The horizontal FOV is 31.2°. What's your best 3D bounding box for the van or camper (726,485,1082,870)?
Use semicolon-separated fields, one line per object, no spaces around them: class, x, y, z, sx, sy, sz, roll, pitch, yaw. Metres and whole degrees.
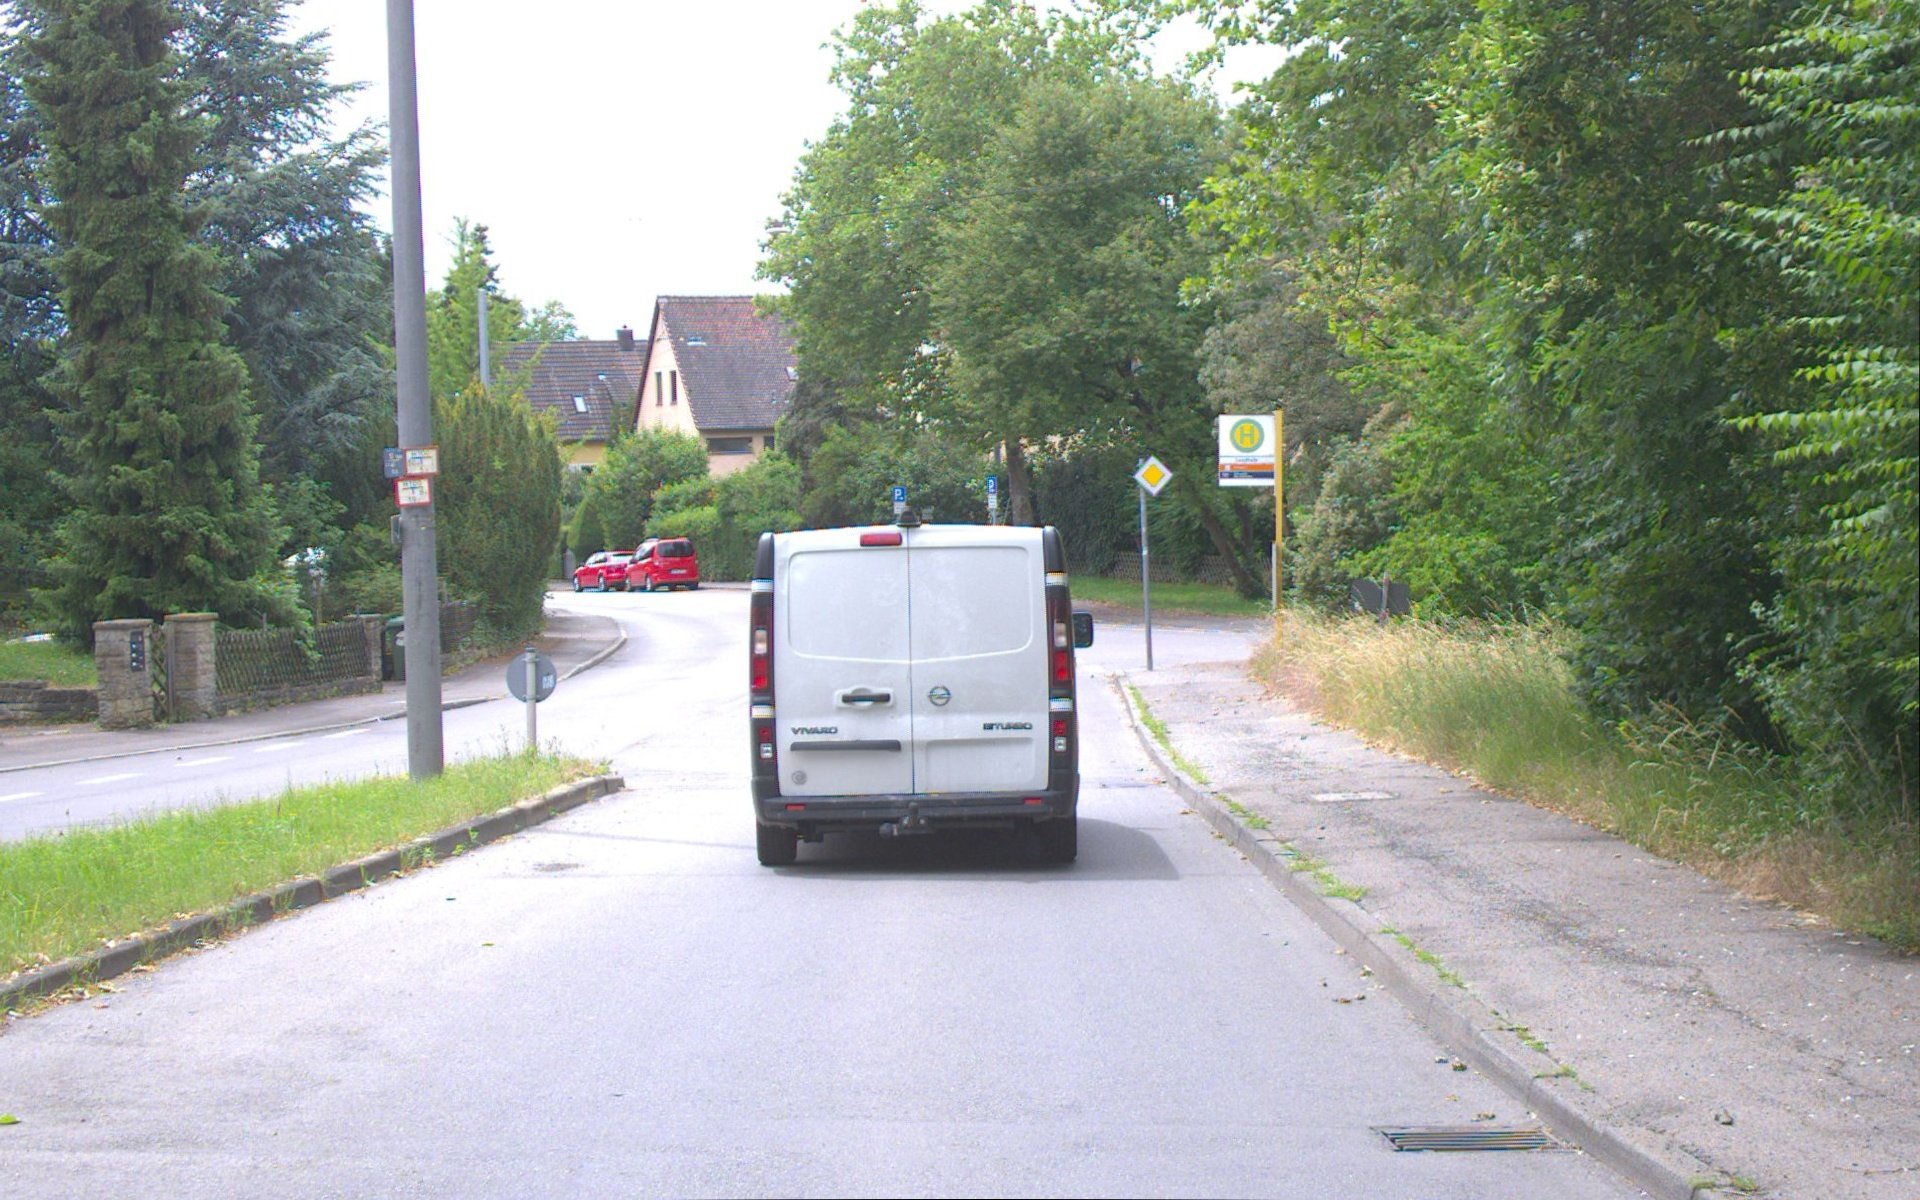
van or camper;-0.224;0.346;21.158;1.924;2.006;4.830;0;3;2

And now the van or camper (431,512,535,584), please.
van or camper;-18.650;-2.037;134.278;2.066;2.665;6.329;-3;2;-26

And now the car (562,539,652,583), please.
car;-12.528;-1.388;121.734;1.712;1.462;4.269;-2;2;-27

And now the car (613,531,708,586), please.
car;-10.206;-1.409;116.849;1.760;1.791;4.950;-2;2;-23
